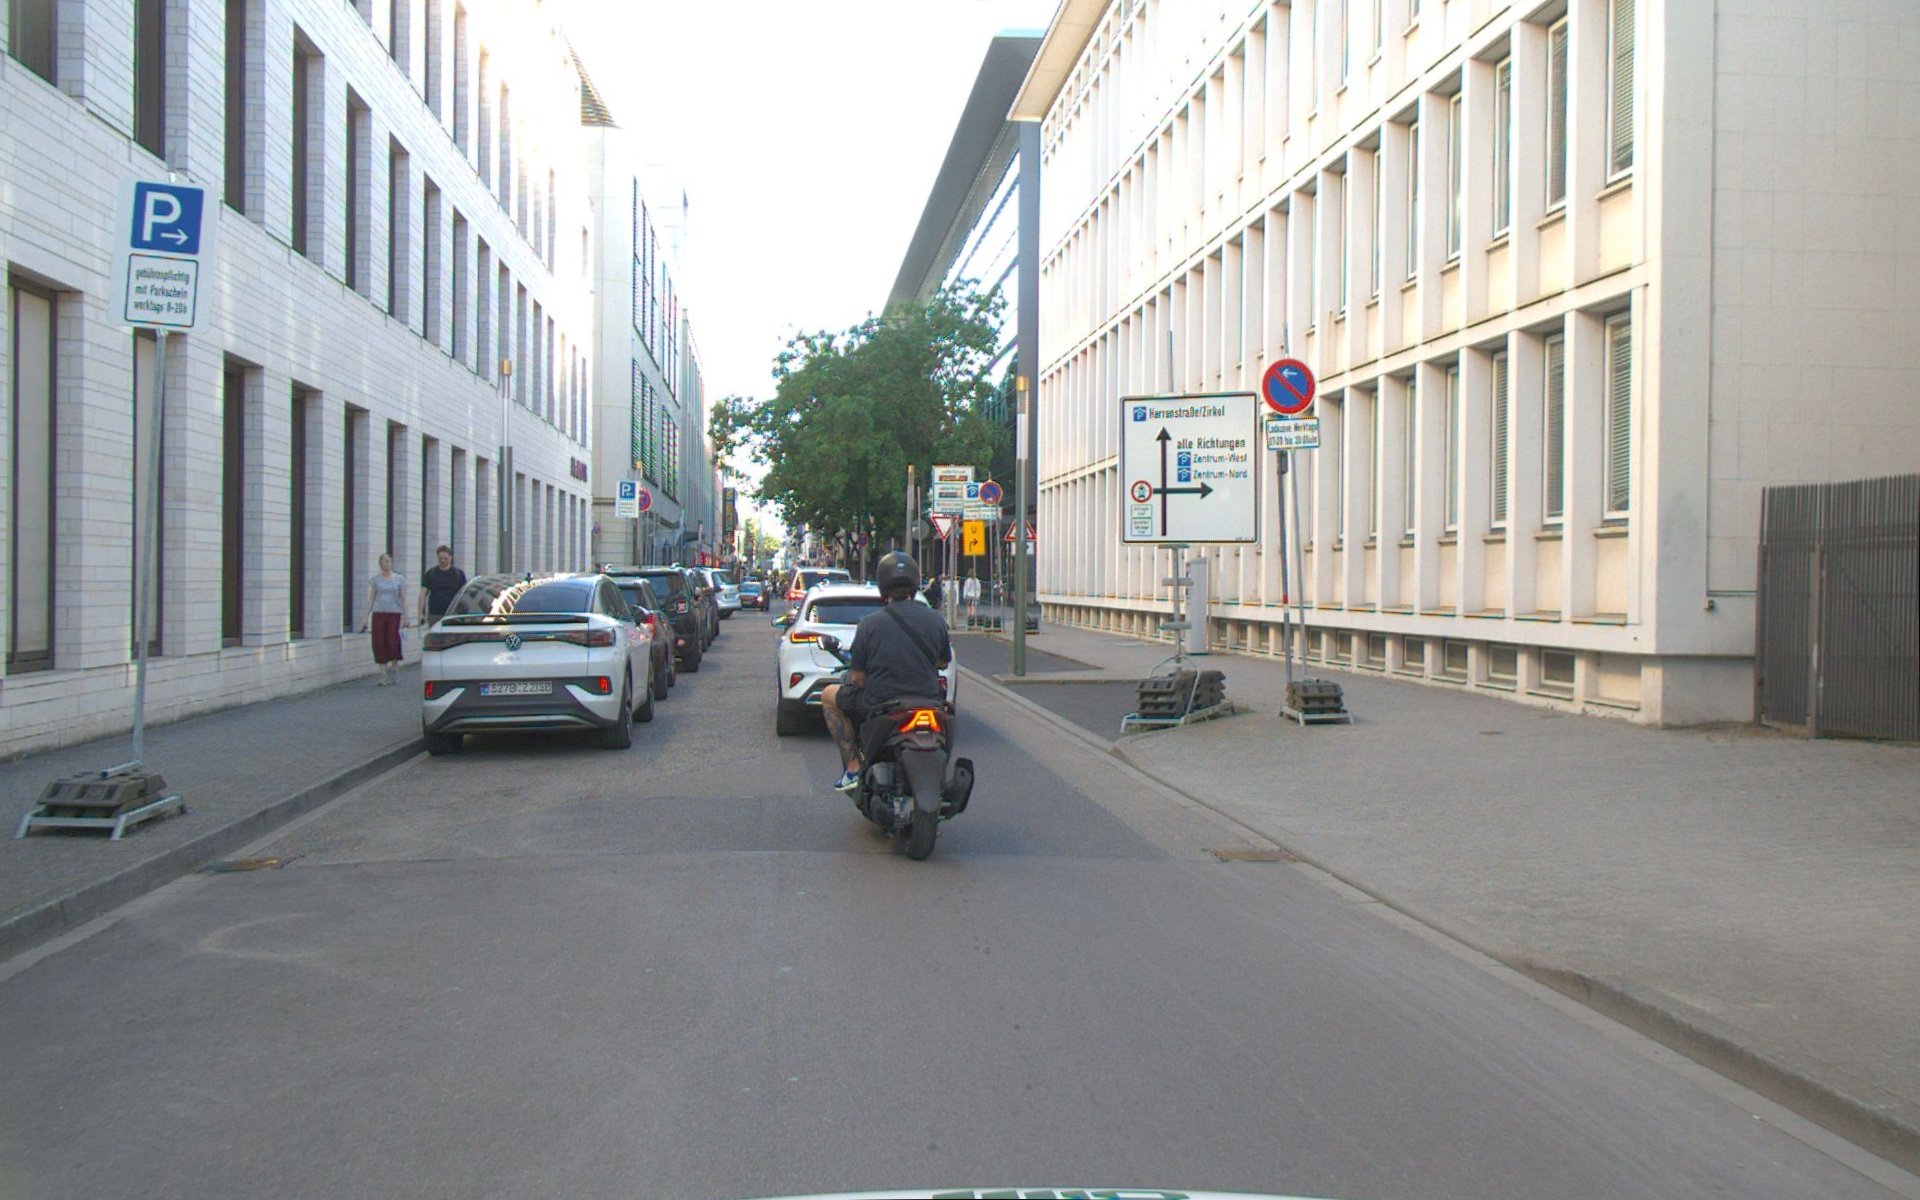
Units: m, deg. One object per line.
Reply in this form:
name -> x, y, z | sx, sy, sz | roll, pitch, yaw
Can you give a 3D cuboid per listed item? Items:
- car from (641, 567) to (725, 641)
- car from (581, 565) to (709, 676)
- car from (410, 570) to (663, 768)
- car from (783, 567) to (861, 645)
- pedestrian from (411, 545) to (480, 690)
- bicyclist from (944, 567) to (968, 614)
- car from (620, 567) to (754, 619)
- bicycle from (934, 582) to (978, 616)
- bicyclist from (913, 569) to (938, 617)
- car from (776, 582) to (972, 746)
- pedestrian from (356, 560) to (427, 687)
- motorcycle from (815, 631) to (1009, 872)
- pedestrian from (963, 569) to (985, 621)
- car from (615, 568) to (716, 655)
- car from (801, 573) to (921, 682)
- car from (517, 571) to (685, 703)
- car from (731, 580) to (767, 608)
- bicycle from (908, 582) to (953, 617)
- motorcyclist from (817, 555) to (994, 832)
car -> -6.568, 0.058, 39.487 | 1.742, 1.634, 3.511 | -1, 1, -6
car -> -5.134, 0.281, 27.330 | 1.776, 1.674, 3.511 | -1, 1, -6
car -> -3.976, 0.544, 16.209 | 1.776, 1.634, 4.262 | -1, 1, -6
car -> -3.584, 0.125, 42.326 | 1.888, 1.889, 3.995 | -1, 1, -6
pedestrian -> -6.599, 0.212, 21.242 | 0.691, 1.817, 0.726 | 0, 1, -6
bicyclist -> -0.150, -0.352, 61.596 | 0.731, 1.736, 0.738 | 0, 1, 15
car -> -8.902, -0.247, 53.969 | 3.906, 1.624, 1.904 | 0, 0, 22
bicycle -> -0.155, -0.036, 61.563 | 1.530, 1.271, 0.552 | 0, 1, 14
bicyclist -> -1.259, -0.261, 60.281 | 0.731, 1.736, 0.738 | 0, 1, 15
car -> -0.923, 0.587, 17.687 | 1.822, 1.498, 3.998 | 2, 1, -3
pedestrian -> -7.493, 0.299, 21.835 | 0.691, 1.642, 0.859 | 0, 1, -6
motorcycle -> -0.366, 0.843, 10.270 | 0.889, 1.204, 2.573 | -1, 1, -9
pedestrian -> 0.445, -0.165, 52.944 | 0.630, 1.629, 0.619 | 0, 1, -4
car -> -5.923, 0.187, 33.578 | 1.742, 1.634, 3.511 | -1, 1, -6
car -> -1.643, 0.368, 26.297 | 1.739, 1.577, 4.102 | -1, 1, -6
car -> -4.654, 0.420, 21.859 | 1.776, 1.554, 3.511 | -1, 1, -6
car -> -11.548, -0.338, 90.493 | 1.911, 1.495, 3.510 | -1, 1, -7
bicycle -> -1.072, -0.027, 60.241 | 1.530, 1.271, 0.552 | 0, 1, 14
motorcyclist -> -0.363, 0.527, 10.168 | 0.936, 1.587, 1.236 | -1, 1, -9
